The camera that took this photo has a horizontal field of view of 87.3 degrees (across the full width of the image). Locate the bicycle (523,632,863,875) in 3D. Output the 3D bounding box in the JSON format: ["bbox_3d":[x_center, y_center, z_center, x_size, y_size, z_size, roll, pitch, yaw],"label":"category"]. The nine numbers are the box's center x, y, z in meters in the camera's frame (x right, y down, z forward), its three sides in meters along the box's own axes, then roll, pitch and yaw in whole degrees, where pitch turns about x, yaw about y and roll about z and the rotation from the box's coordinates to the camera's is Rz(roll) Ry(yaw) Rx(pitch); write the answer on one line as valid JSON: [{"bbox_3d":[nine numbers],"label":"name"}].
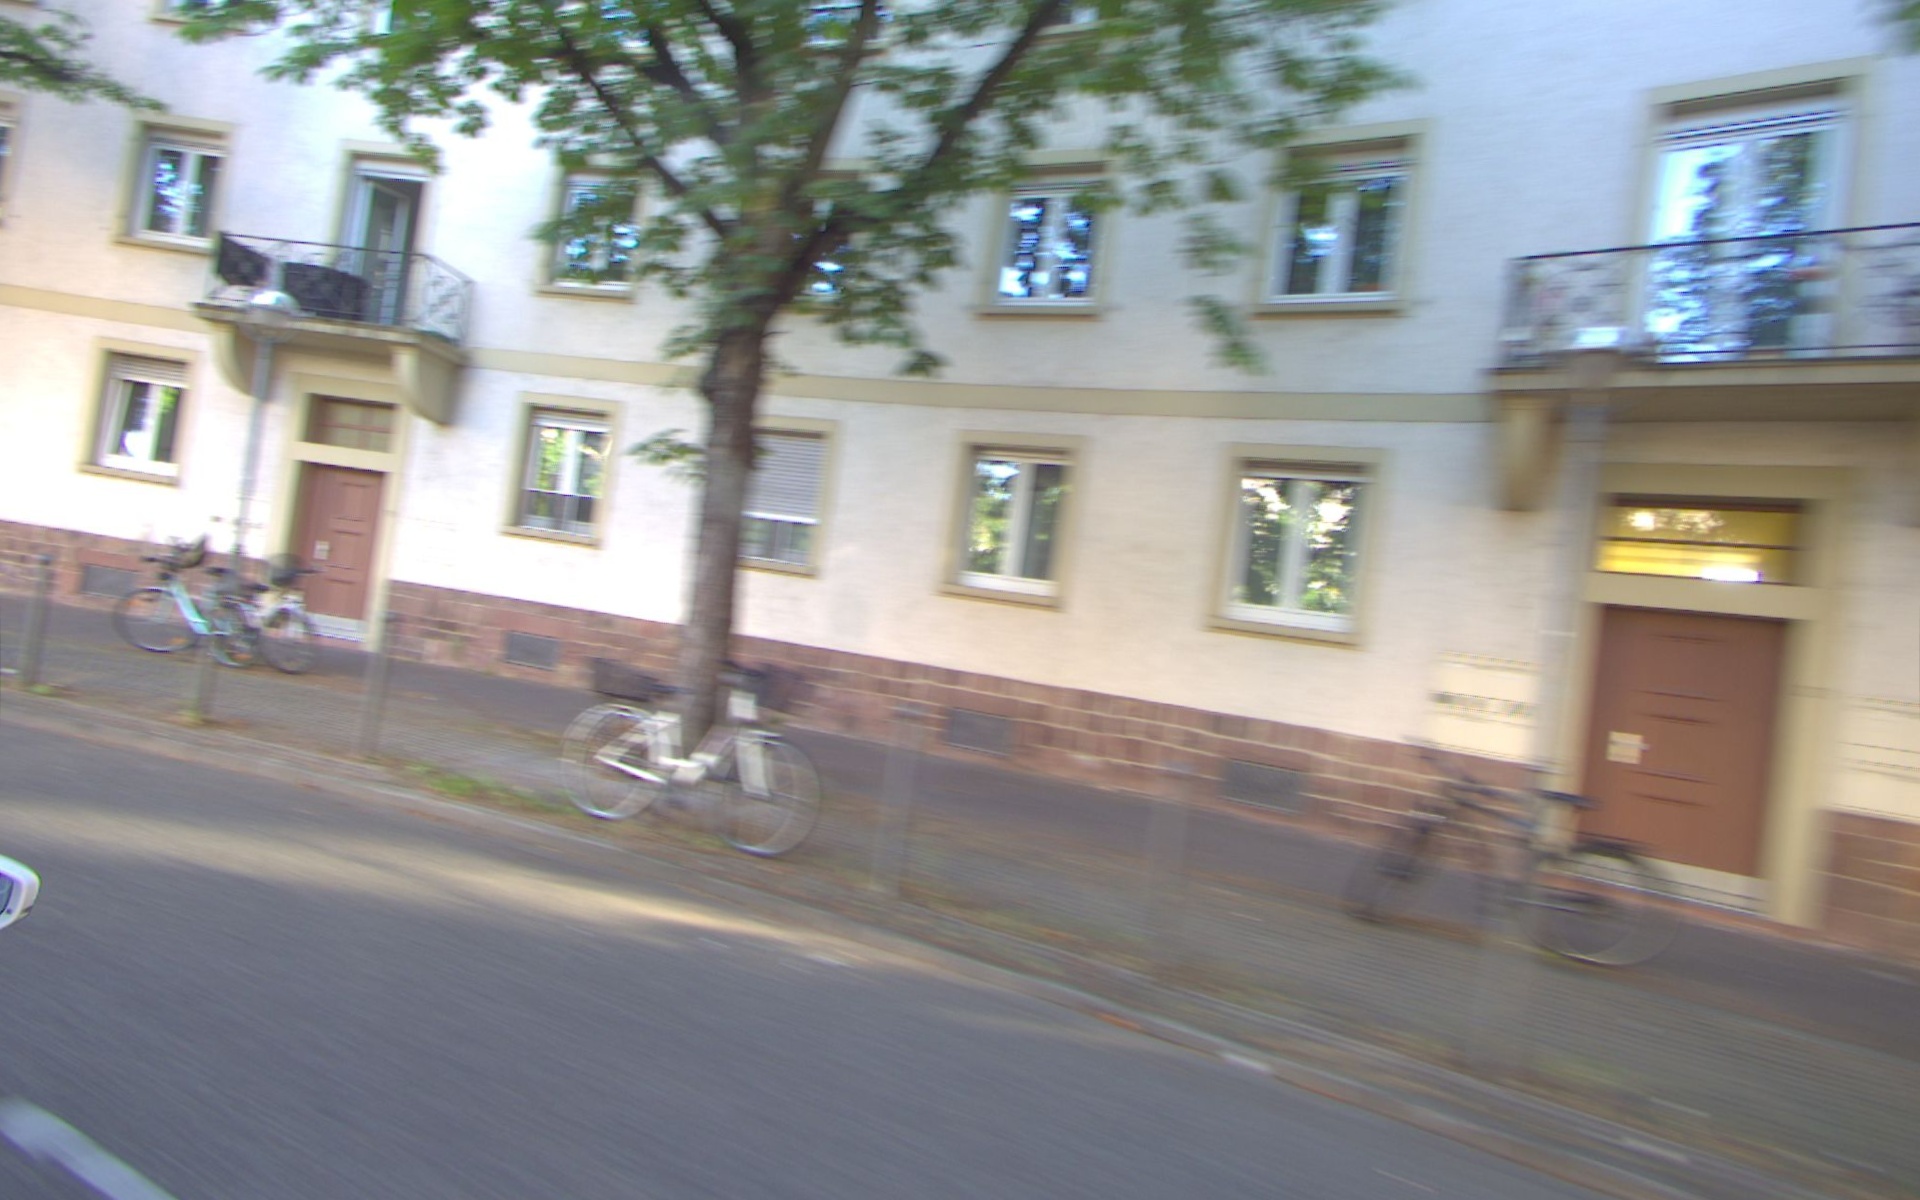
[{"bbox_3d":[-1.647,0.882,6.163,1.937,1.109,0.514,7,0,18],"label":"bicycle"}]

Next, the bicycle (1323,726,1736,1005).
[{"bbox_3d":[3.184,1.456,5.843,1.823,1.131,0.804,8,-2,14],"label":"bicycle"}]

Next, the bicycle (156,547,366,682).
[{"bbox_3d":[-7.324,0.156,10.548,1.930,1.120,0.670,8,-2,19],"label":"bicycle"}]

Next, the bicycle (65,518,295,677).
[{"bbox_3d":[-7.724,-0.026,9.972,1.930,1.292,0.720,8,0,17],"label":"bicycle"}]
